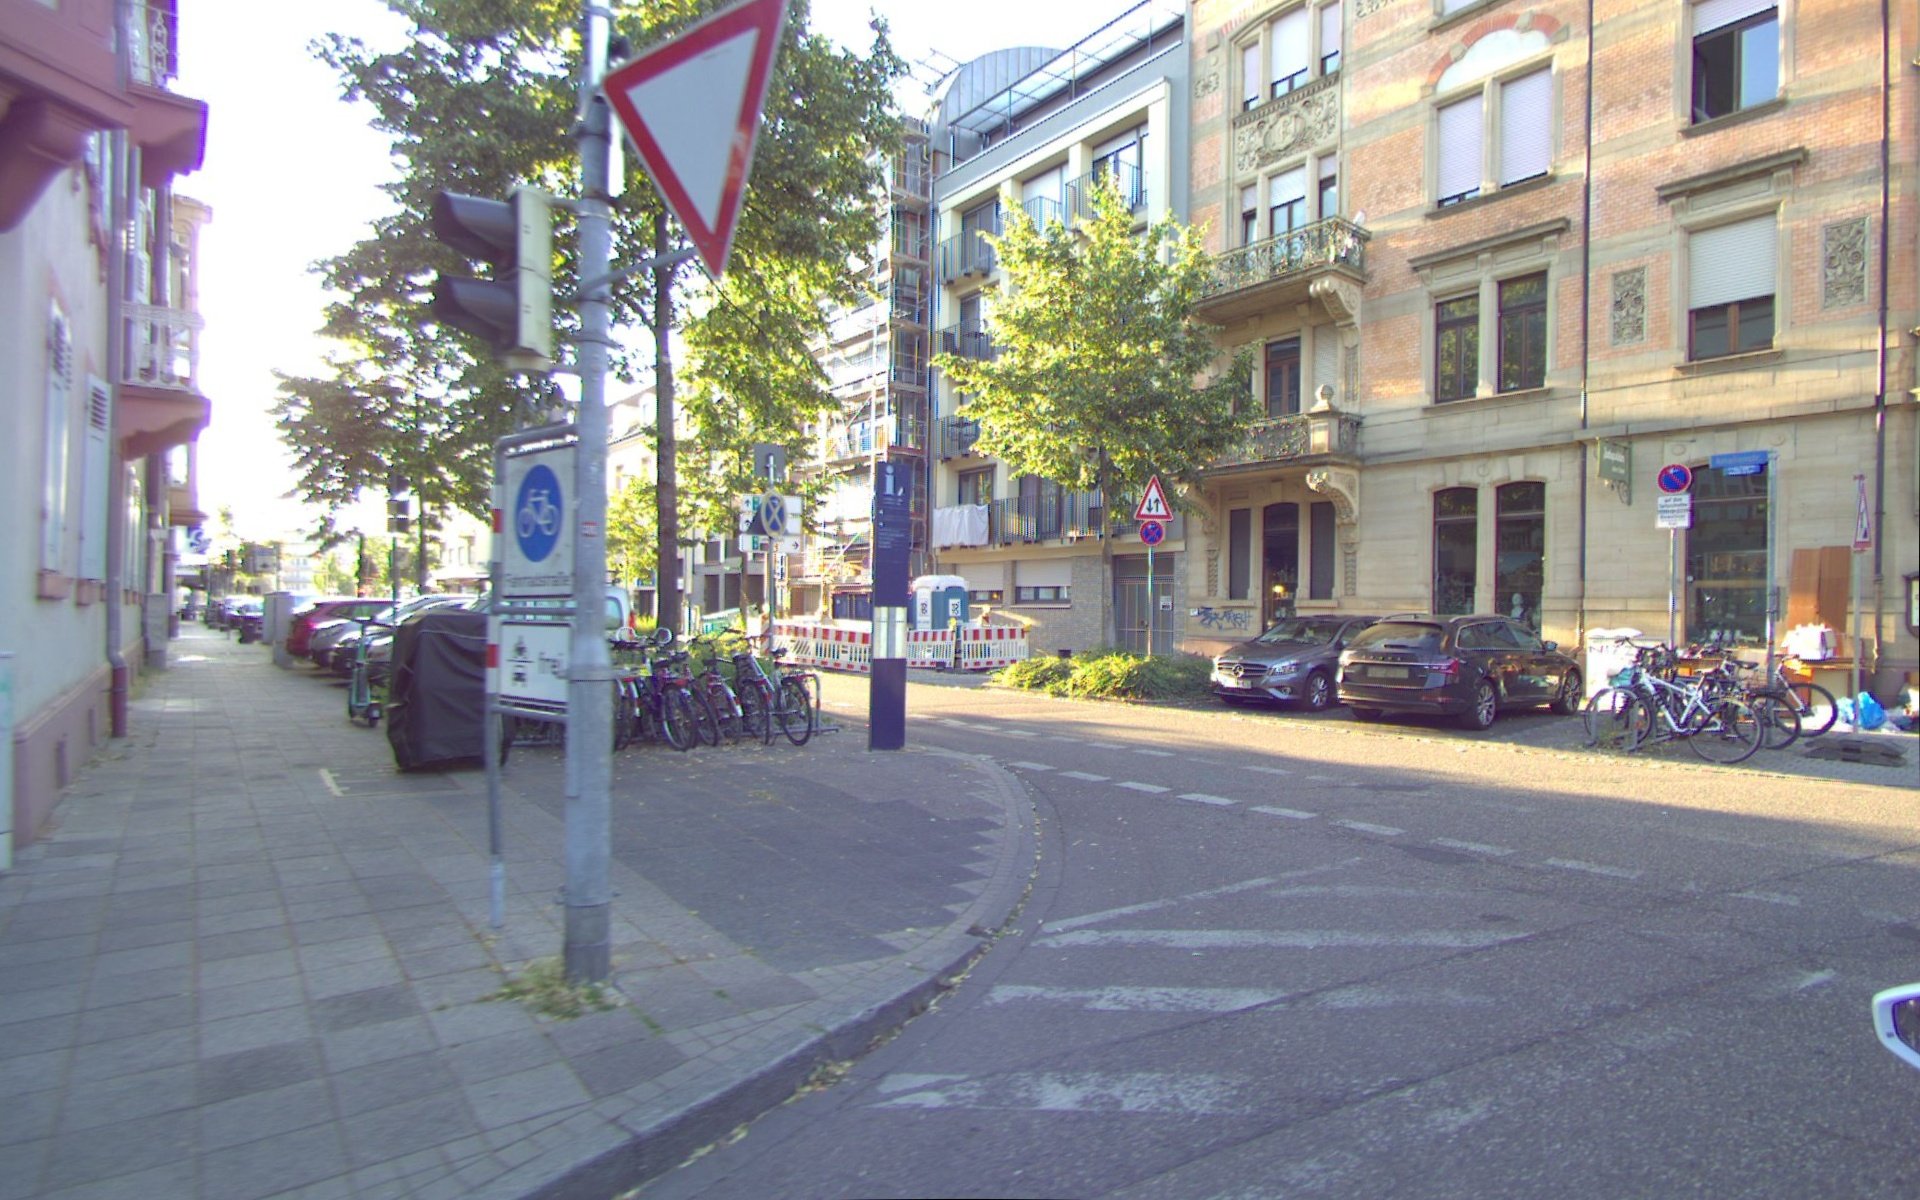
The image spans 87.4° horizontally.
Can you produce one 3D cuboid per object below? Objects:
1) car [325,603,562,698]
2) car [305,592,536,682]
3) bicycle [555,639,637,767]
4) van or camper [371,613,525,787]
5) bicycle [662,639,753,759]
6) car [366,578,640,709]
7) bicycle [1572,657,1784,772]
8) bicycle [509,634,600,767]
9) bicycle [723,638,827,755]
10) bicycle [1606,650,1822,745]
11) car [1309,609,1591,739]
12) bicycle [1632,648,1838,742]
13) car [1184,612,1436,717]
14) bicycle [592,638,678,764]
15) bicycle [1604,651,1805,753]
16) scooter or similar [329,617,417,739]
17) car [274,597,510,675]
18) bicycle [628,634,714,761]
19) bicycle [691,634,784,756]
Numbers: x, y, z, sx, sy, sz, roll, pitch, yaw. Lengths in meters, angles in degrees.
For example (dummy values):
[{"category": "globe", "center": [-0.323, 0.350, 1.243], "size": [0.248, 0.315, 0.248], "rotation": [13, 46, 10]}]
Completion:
[{"category": "car", "center": [-9.161, 0.850, 17.898], "size": [3.622, 1.535, 1.634], "rotation": [1, -1, -33]}, {"category": "car", "center": [-10.594, 0.754, 19.806], "size": [3.800, 1.606, 1.724], "rotation": [3, -3, -35]}, {"category": "bicycle", "center": [-3.487, 0.931, 9.555], "size": [0.320, 1.096, 1.581], "rotation": [1, -2, -35]}, {"category": "van or camper", "center": [-4.337, 0.769, 8.434], "size": [0.934, 1.276, 1.828], "rotation": [3, -2, -33]}, {"category": "bicycle", "center": [-2.610, 0.973, 10.274], "size": [0.317, 1.096, 1.581], "rotation": [3, -2, -35]}, {"category": "car", "center": [-7.311, 0.661, 16.180], "size": [3.784, 1.874, 1.684], "rotation": [1, -1, -35]}, {"category": "bicycle", "center": [7.806, 1.204, 11.009], "size": [0.566, 1.061, 1.814], "rotation": [0, 0, -35]}, {"category": "bicycle", "center": [-3.796, 0.891, 9.341], "size": [0.393, 1.096, 1.581], "rotation": [3, -2, -35]}, {"category": "bicycle", "center": [-2.008, 0.992, 10.753], "size": [0.392, 1.123, 1.696], "rotation": [3, -3, -35]}, {"category": "bicycle", "center": [9.431, 1.179, 12.653], "size": [0.634, 1.027, 2.087], "rotation": [1, -1, -38]}, {"category": "car", "center": [7.130, 0.930, 14.435], "size": [4.500, 1.531, 1.890], "rotation": [-1, 0, -38]}, {"category": "bicycle", "center": [10.050, 1.195, 13.113], "size": [0.461, 1.054, 2.087], "rotation": [1, -1, -38]}, {"category": "car", "center": [5.909, 0.967, 16.711], "size": [4.501, 1.499, 1.847], "rotation": [0, -1, -38]}, {"category": "bicycle", "center": [-3.183, 0.933, 9.762], "size": [0.338, 1.096, 1.581], "rotation": [1, -1, -35]}, {"category": "bicycle", "center": [8.739, 1.160, 11.851], "size": [0.634, 1.027, 1.812], "rotation": [1, -1, -38]}, {"category": "scooter or similar", "center": [-6.458, 0.811, 11.021], "size": [0.672, 1.238, 1.380], "rotation": [1, -1, -37]}, {"category": "car", "center": [-12.228, 0.758, 21.779], "size": [4.189, 1.536, 1.741], "rotation": [1, -1, -41]}, {"category": "bicycle", "center": [-2.900, 0.926, 9.999], "size": [0.310, 1.163, 1.596], "rotation": [2, -2, -35]}, {"category": "bicycle", "center": [-2.358, 0.951, 10.517], "size": [0.328, 1.155, 1.581], "rotation": [3, -2, -35]}]
